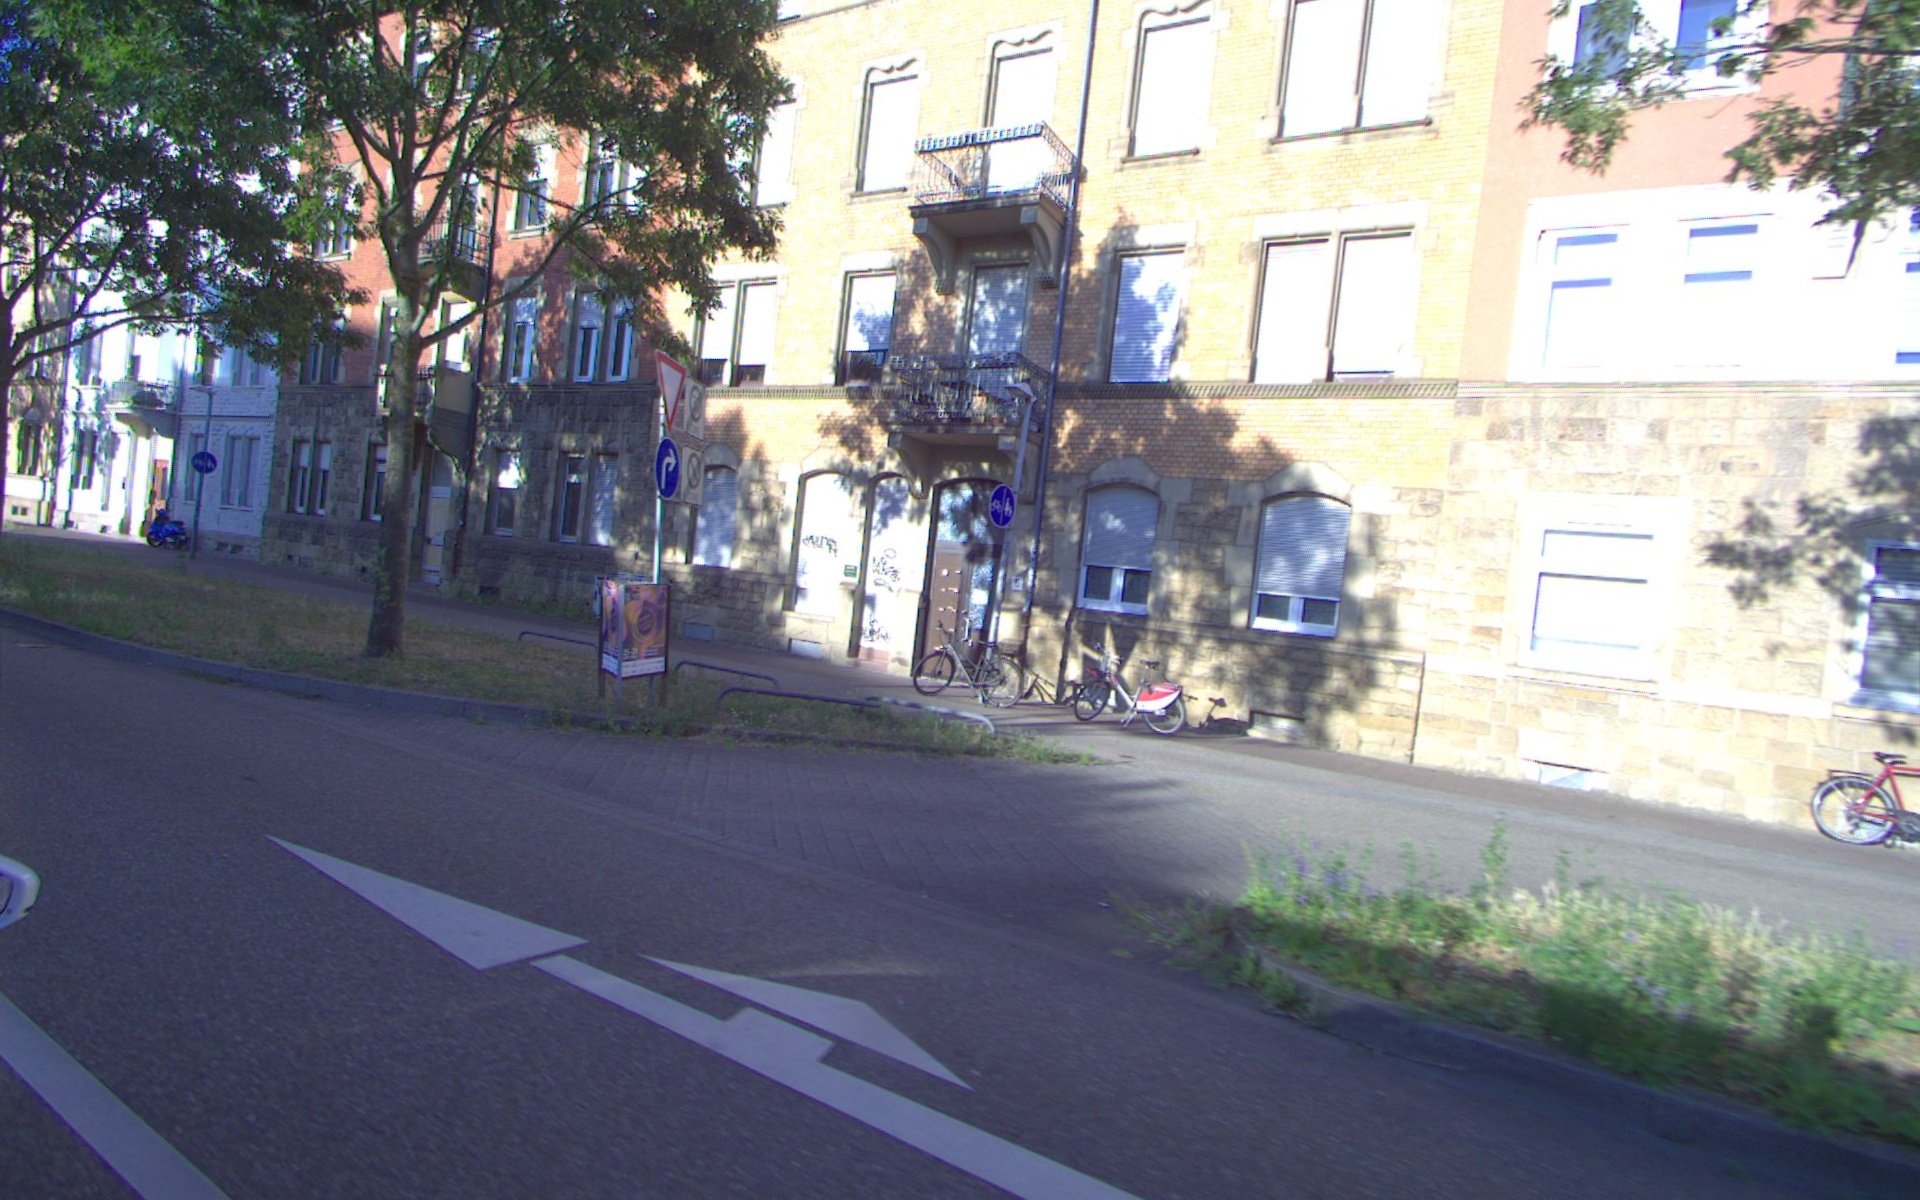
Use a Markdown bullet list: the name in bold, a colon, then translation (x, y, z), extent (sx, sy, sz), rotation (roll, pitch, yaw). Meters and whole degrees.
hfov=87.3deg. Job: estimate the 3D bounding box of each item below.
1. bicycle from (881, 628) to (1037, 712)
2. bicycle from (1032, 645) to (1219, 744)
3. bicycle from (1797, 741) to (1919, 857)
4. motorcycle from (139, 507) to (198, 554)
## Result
- **bicycle**: translation (-0.028, 0.994, 14.664), extent (2.050, 0.928, 0.872), rotation (7, 2, 32)
- **bicycle**: translation (2.188, 1.230, 13.494), extent (2.302, 0.960, 0.733), rotation (7, 2, 34)
- **bicycle**: translation (9.997, 2.141, 10.557), extent (1.717, 1.018, 0.484), rotation (7, 1, 31)
- **motorcycle**: translation (-23.907, -2.111, 30.380), extent (2.037, 1.228, 0.555), rotation (7, -1, 29)
